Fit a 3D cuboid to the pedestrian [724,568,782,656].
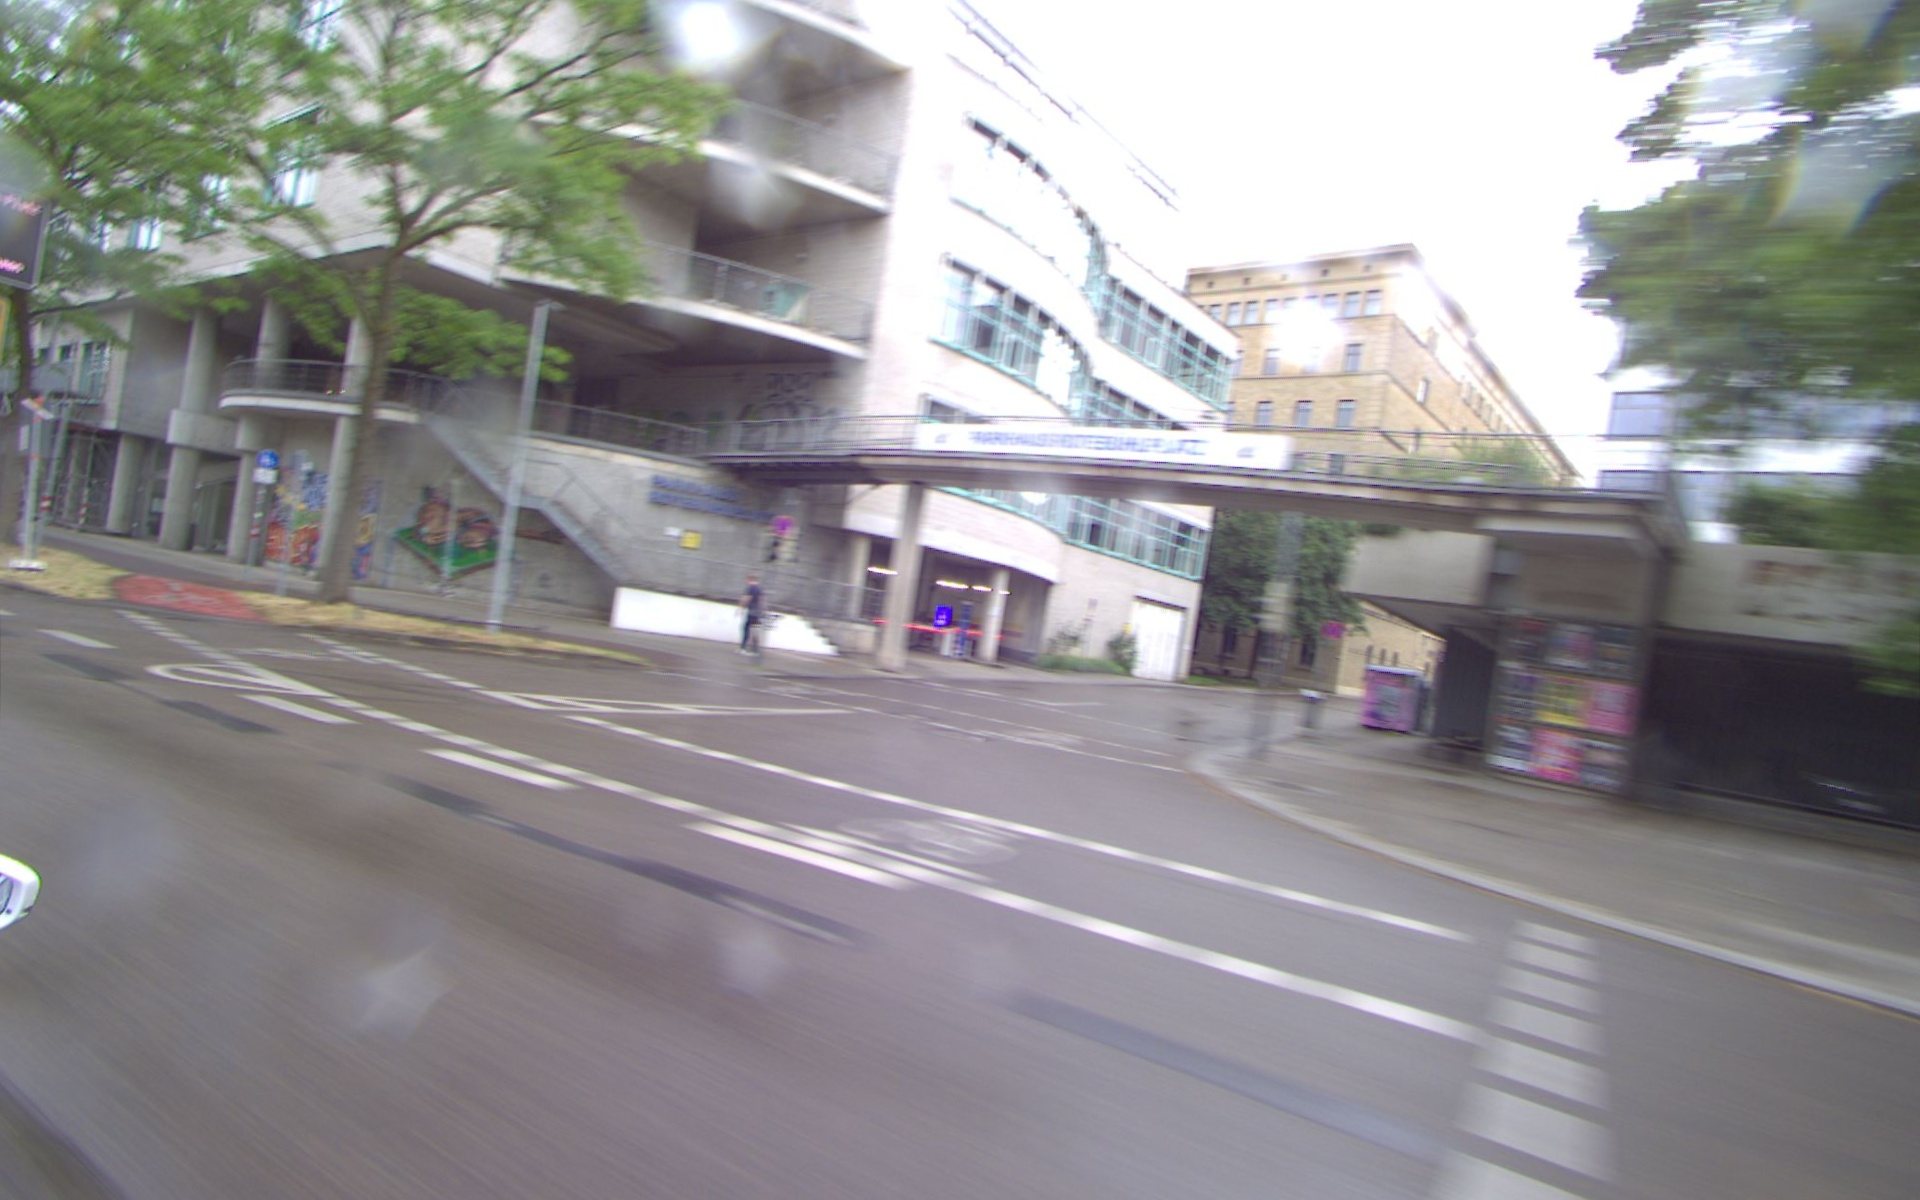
[{"bbox_3d":[-4.820,0.285,23.459,0.745,1.933,0.847,7,-1,31],"label":"pedestrian"}]
